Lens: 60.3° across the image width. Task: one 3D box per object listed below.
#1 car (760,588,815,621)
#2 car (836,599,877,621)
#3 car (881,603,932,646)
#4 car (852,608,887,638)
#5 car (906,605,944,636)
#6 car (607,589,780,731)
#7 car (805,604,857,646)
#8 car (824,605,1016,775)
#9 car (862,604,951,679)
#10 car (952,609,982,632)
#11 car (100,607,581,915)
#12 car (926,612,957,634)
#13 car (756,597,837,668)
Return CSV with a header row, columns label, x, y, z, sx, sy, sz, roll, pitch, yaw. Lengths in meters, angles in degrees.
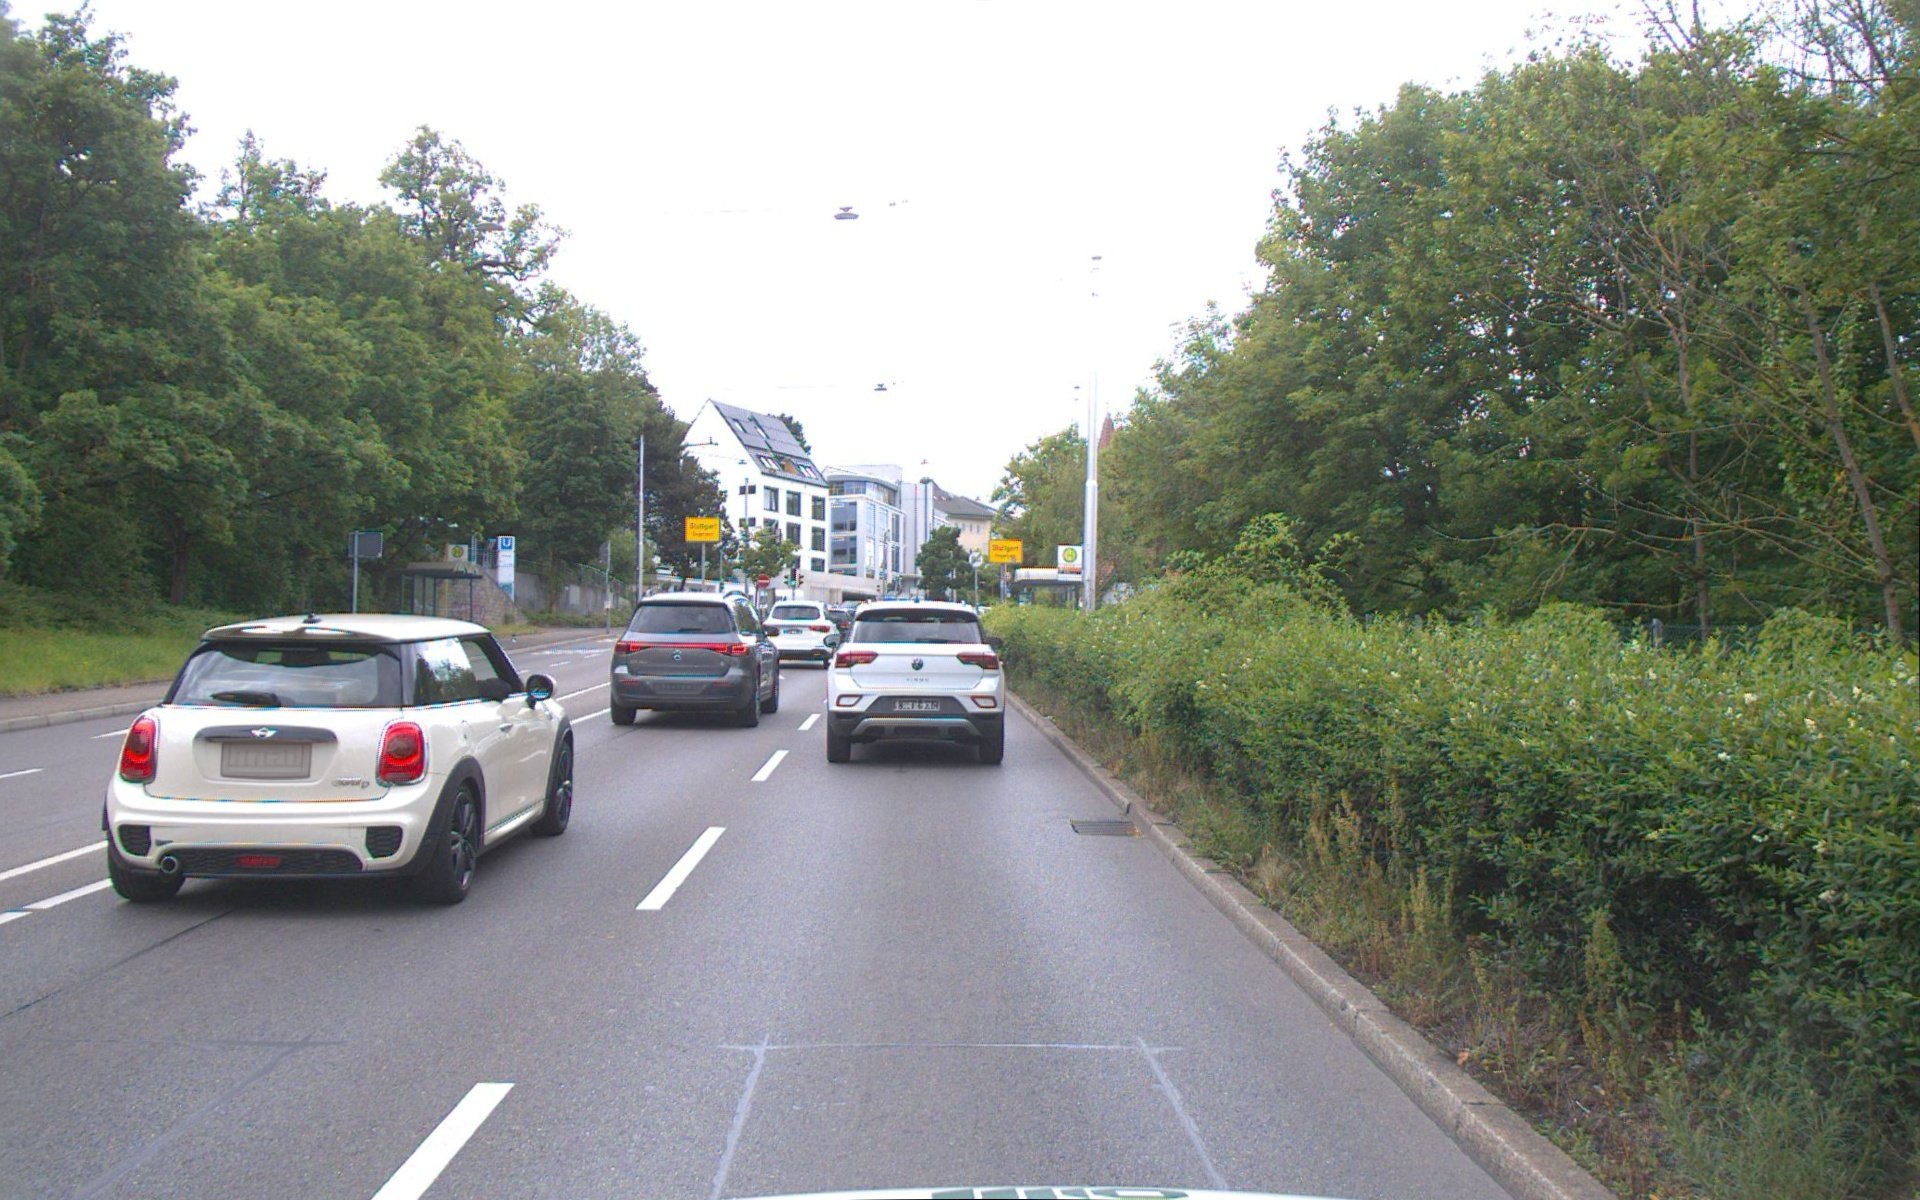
label,x,y,z,sx,sy,sz,roll,pitch,yaw
car,-14.370,0.398,138.384,2.184,2.613,7.427,0,0,14
car,-9.429,0.901,151.170,1.941,2.001,5.220,0,0,19
car,-2.109,0.941,65.028,1.836,1.527,4.553,4,-1,-2
car,-4.872,1.224,88.986,1.821,1.527,4.053,0,0,-3
car,-1.819,1.041,85.145,1.821,1.527,4.053,0,0,-3
car,-3.411,0.725,21.958,1.777,1.681,4.633,0,0,-3
car,-4.785,0.925,61.848,1.821,1.527,4.053,0,0,-3
car,-0.465,0.845,17.175,1.775,1.566,3.687,0,0,-3
car,-1.205,0.858,35.921,1.821,1.527,4.053,0,0,-3
car,0.498,1.418,114.609,1.819,1.527,4.057,0,0,4
car,-3.282,0.755,9.482,1.595,1.418,3.563,0,0,-4
car,-1.295,1.642,118.359,1.818,1.527,4.058,0,0,6
car,-4.081,0.790,41.888,1.821,1.681,4.633,0,0,-3
